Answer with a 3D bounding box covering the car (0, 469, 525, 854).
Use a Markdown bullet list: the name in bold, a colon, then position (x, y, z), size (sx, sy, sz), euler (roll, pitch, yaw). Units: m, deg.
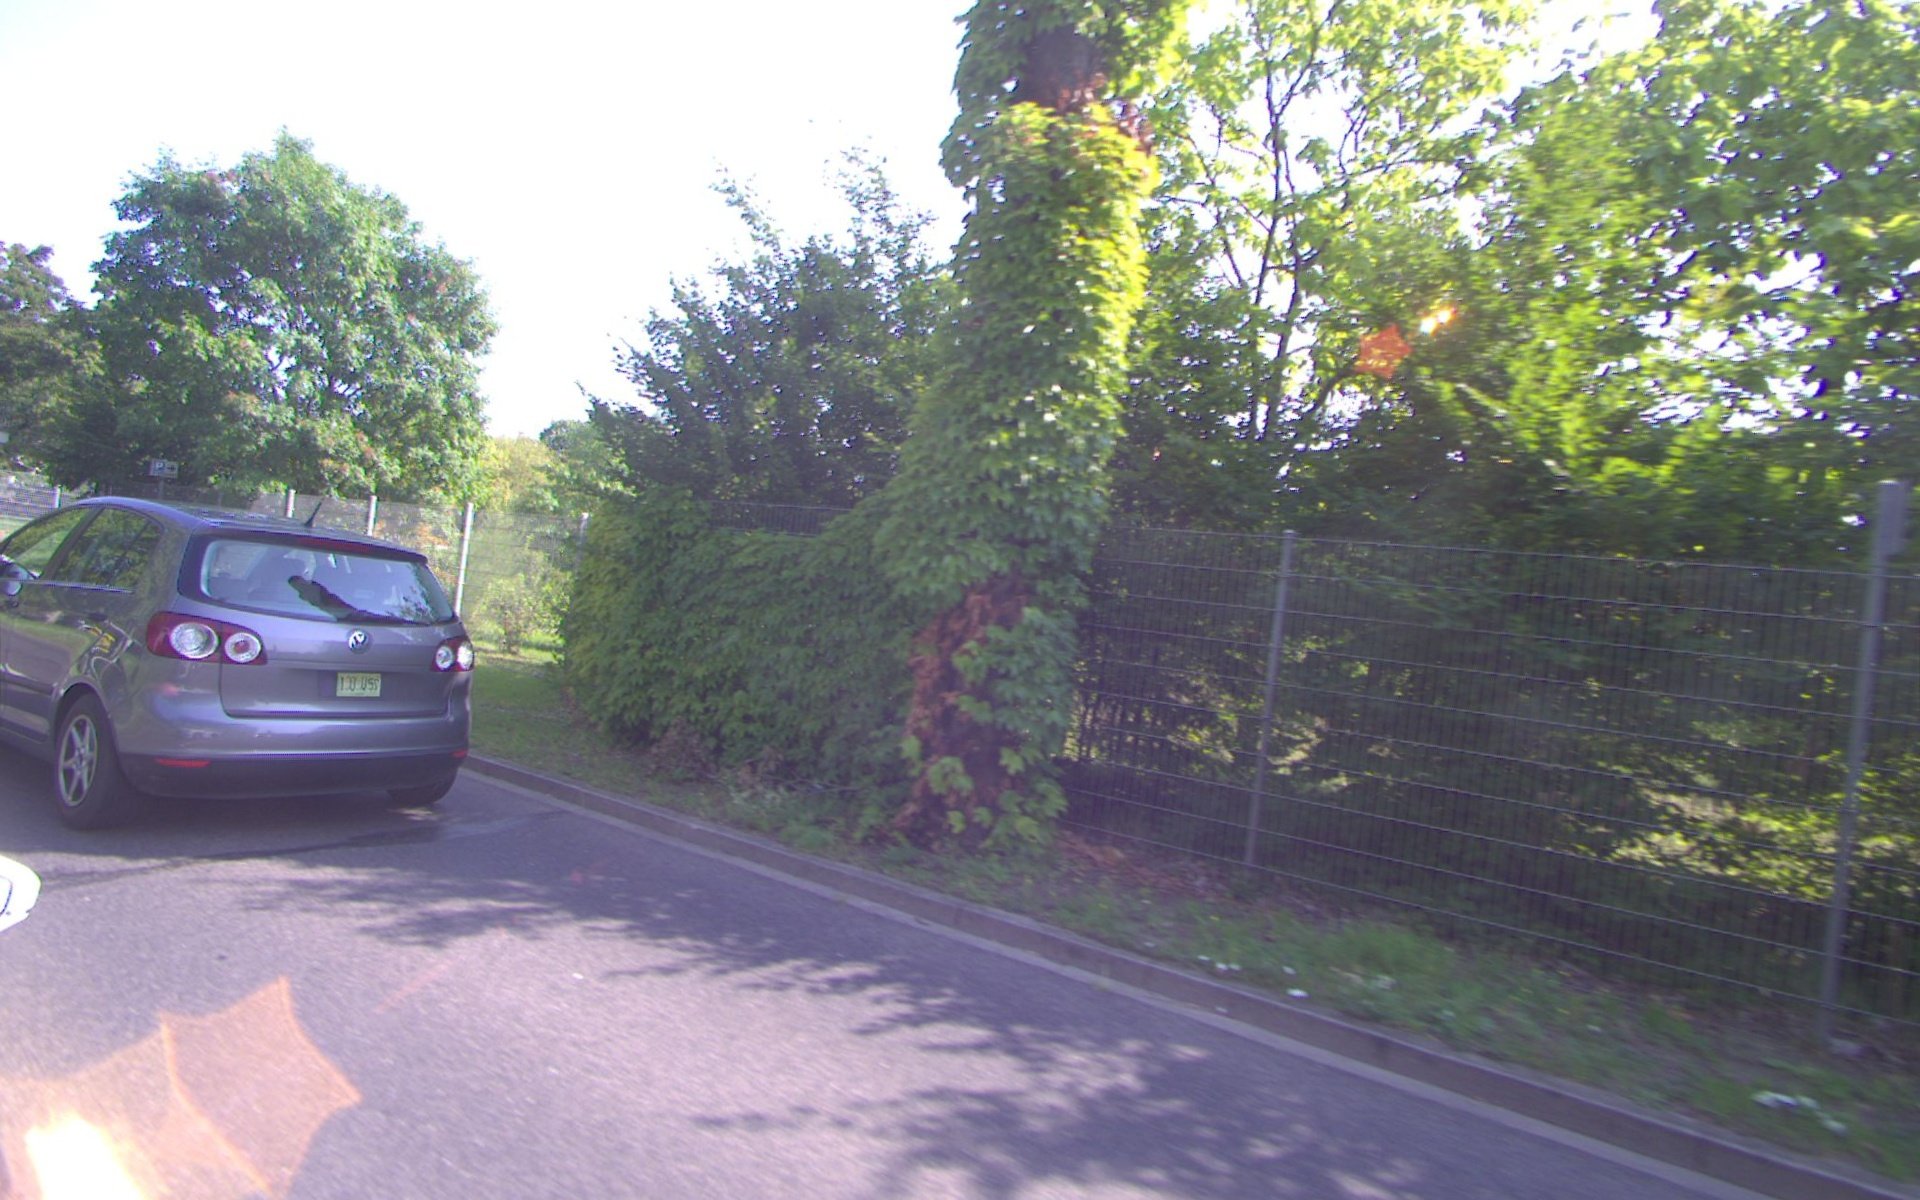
- **car**: position (-4.591, 0.187, 5.916), size (3.833, 1.574, 1.649), euler (6, -2, 30)
